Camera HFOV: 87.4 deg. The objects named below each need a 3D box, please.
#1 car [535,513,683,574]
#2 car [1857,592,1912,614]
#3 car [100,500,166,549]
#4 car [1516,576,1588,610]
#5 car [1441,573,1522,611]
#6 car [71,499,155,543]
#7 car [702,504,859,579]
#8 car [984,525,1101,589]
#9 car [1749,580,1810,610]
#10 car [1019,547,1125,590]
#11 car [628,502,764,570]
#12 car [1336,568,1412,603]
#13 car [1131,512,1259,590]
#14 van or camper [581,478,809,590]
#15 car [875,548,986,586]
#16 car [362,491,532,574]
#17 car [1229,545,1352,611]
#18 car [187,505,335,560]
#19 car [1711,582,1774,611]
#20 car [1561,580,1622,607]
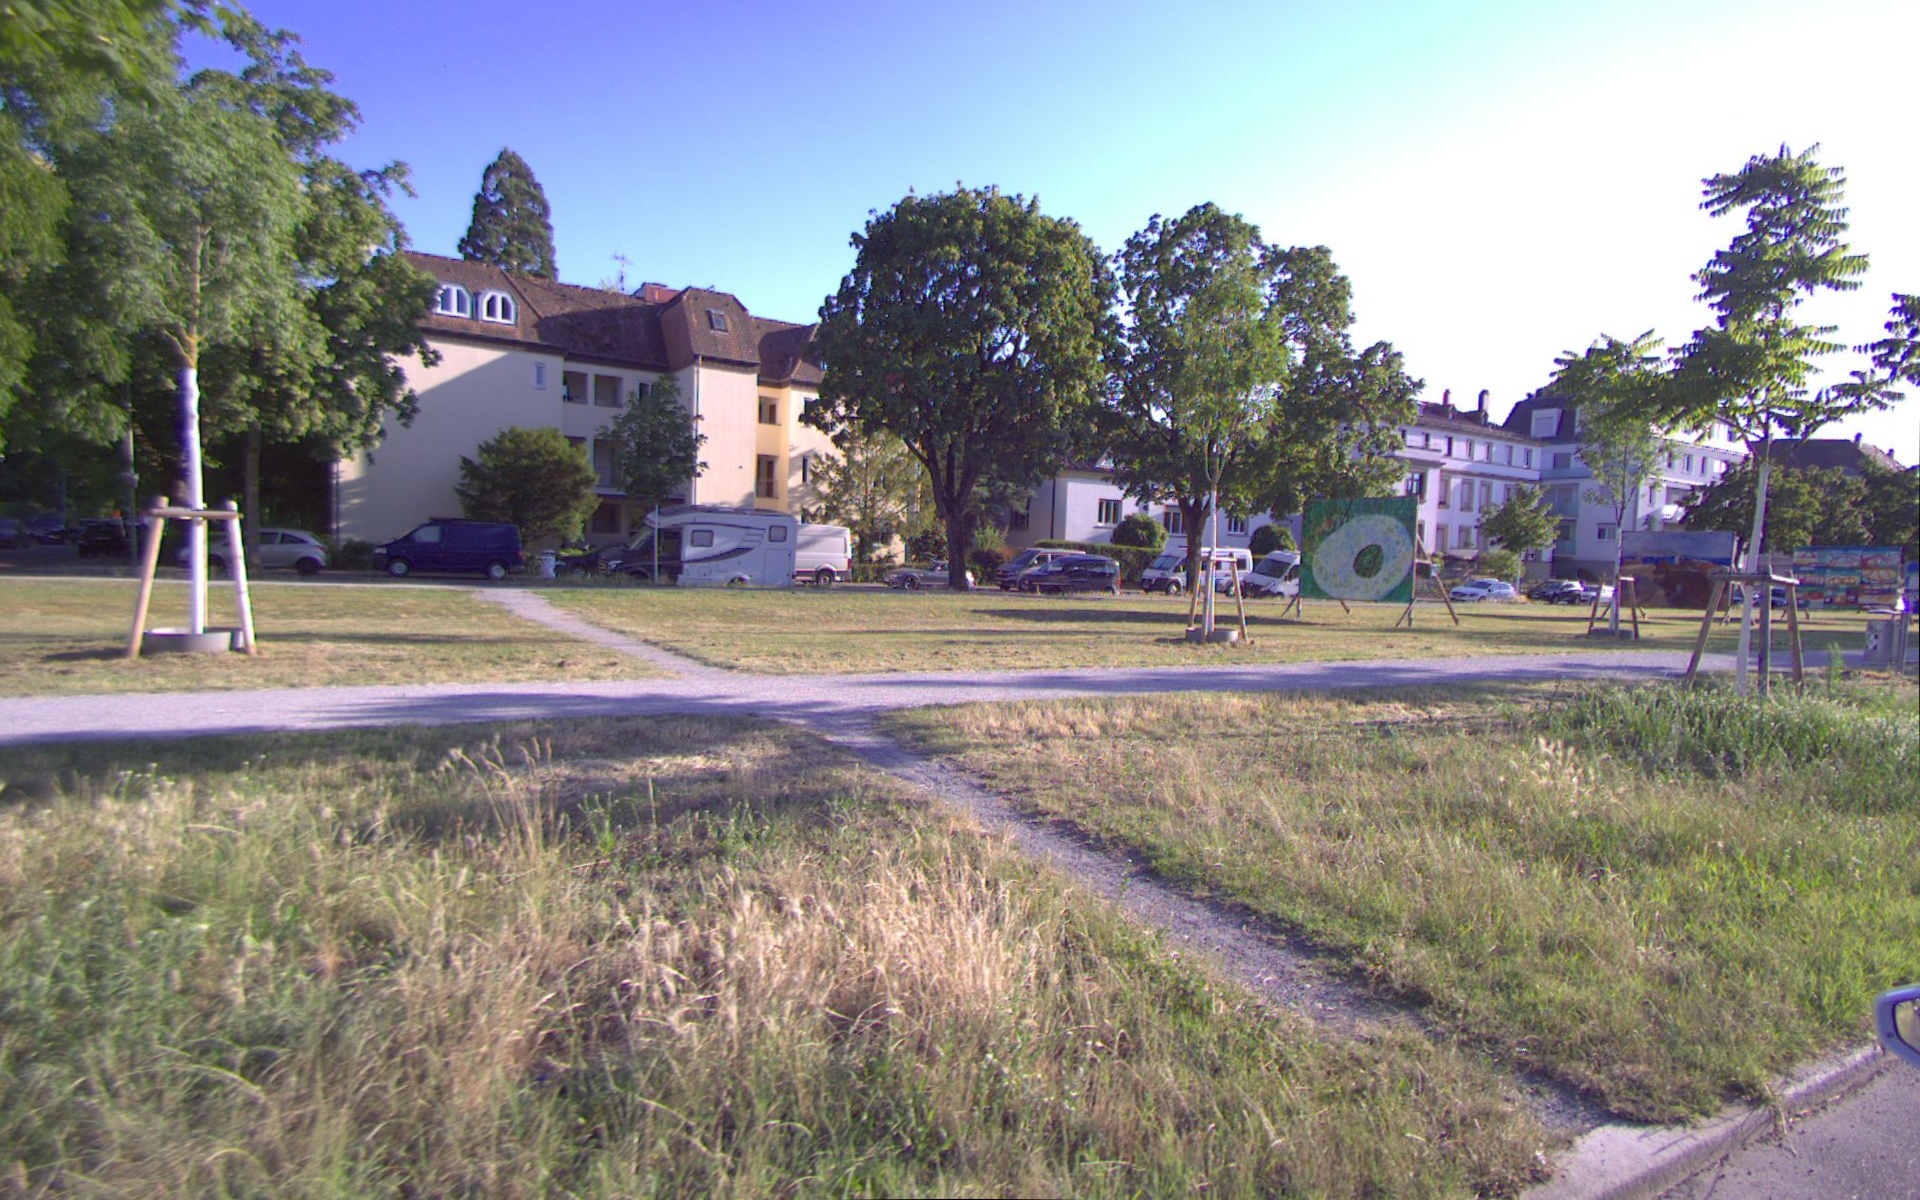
[{"bbox_3d":[-13.123,-2.081,37.603,4.988,2.031,1.960,1,3,-29],"label":"car"},{"bbox_3d":[77.687,0.268,84.365,4.768,1.658,1.975,2,-1,-29],"label":"car"},{"bbox_3d":[-39.295,-3.554,47.790,1.849,2.152,3.965,0,3,-31],"label":"car"},{"bbox_3d":[41.097,-0.457,69.750,4.794,2.159,2.228,2,-1,-29],"label":"car"},{"bbox_3d":[28.922,-0.422,55.684,4.586,1.924,1.825,2,-1,-29],"label":"car"},{"bbox_3d":[-36.615,-3.392,43.539,2.156,1.703,4.111,0,3,-31],"label":"car"},{"bbox_3d":[-7.342,-2.325,41.373,6.019,2.632,1.984,2,-1,-30],"label":"car"},{"bbox_3d":[3.915,-1.958,47.448,5.267,2.638,2.124,2,-1,-32],"label":"car"},{"bbox_3d":[60.597,-0.328,74.270,5.315,2.027,2.007,2,-1,-34],"label":"car"},{"bbox_3d":[4.544,-1.273,40.627,4.260,1.585,1.406,1,3,-31],"label":"car"},{"bbox_3d":[-8.687,-2.061,33.091,3.952,2.041,1.984,0,3,-29],"label":"car"},{"bbox_3d":[24.673,-0.825,59.772,4.659,1.879,1.722,2,-1,-30],"label":"car"},{"bbox_3d":[12.244,-2.434,52.169,6.685,3.606,2.293,2,-1,-30],"label":"car"},{"bbox_3d":[-8.687,-2.061,33.091,6.821,3.307,2.629,0,3,-30],"label":"van or camper"},{"bbox_3d":[-1.312,-1.439,44.615,4.502,1.421,1.987,2,-1,-26],"label":"car"},{"bbox_3d":[-17.700,-2.250,34.818,5.056,2.450,1.929,2,-1,-30],"label":"car"},{"bbox_3d":[15.727,-0.958,47.640,5.801,2.863,2.250,2,-1,-30],"label":"car"},{"bbox_3d":[-22.252,-2.135,32.186,3.767,1.563,1.982,0,3,-32],"label":"car"},{"bbox_3d":[55.212,-0.229,70.884,4.636,1.852,1.919,2,-1,-30],"label":"car"},{"bbox_3d":[45.373,-0.420,72.152,4.406,1.767,1.813,2,-1,-29],"label":"car"}]
